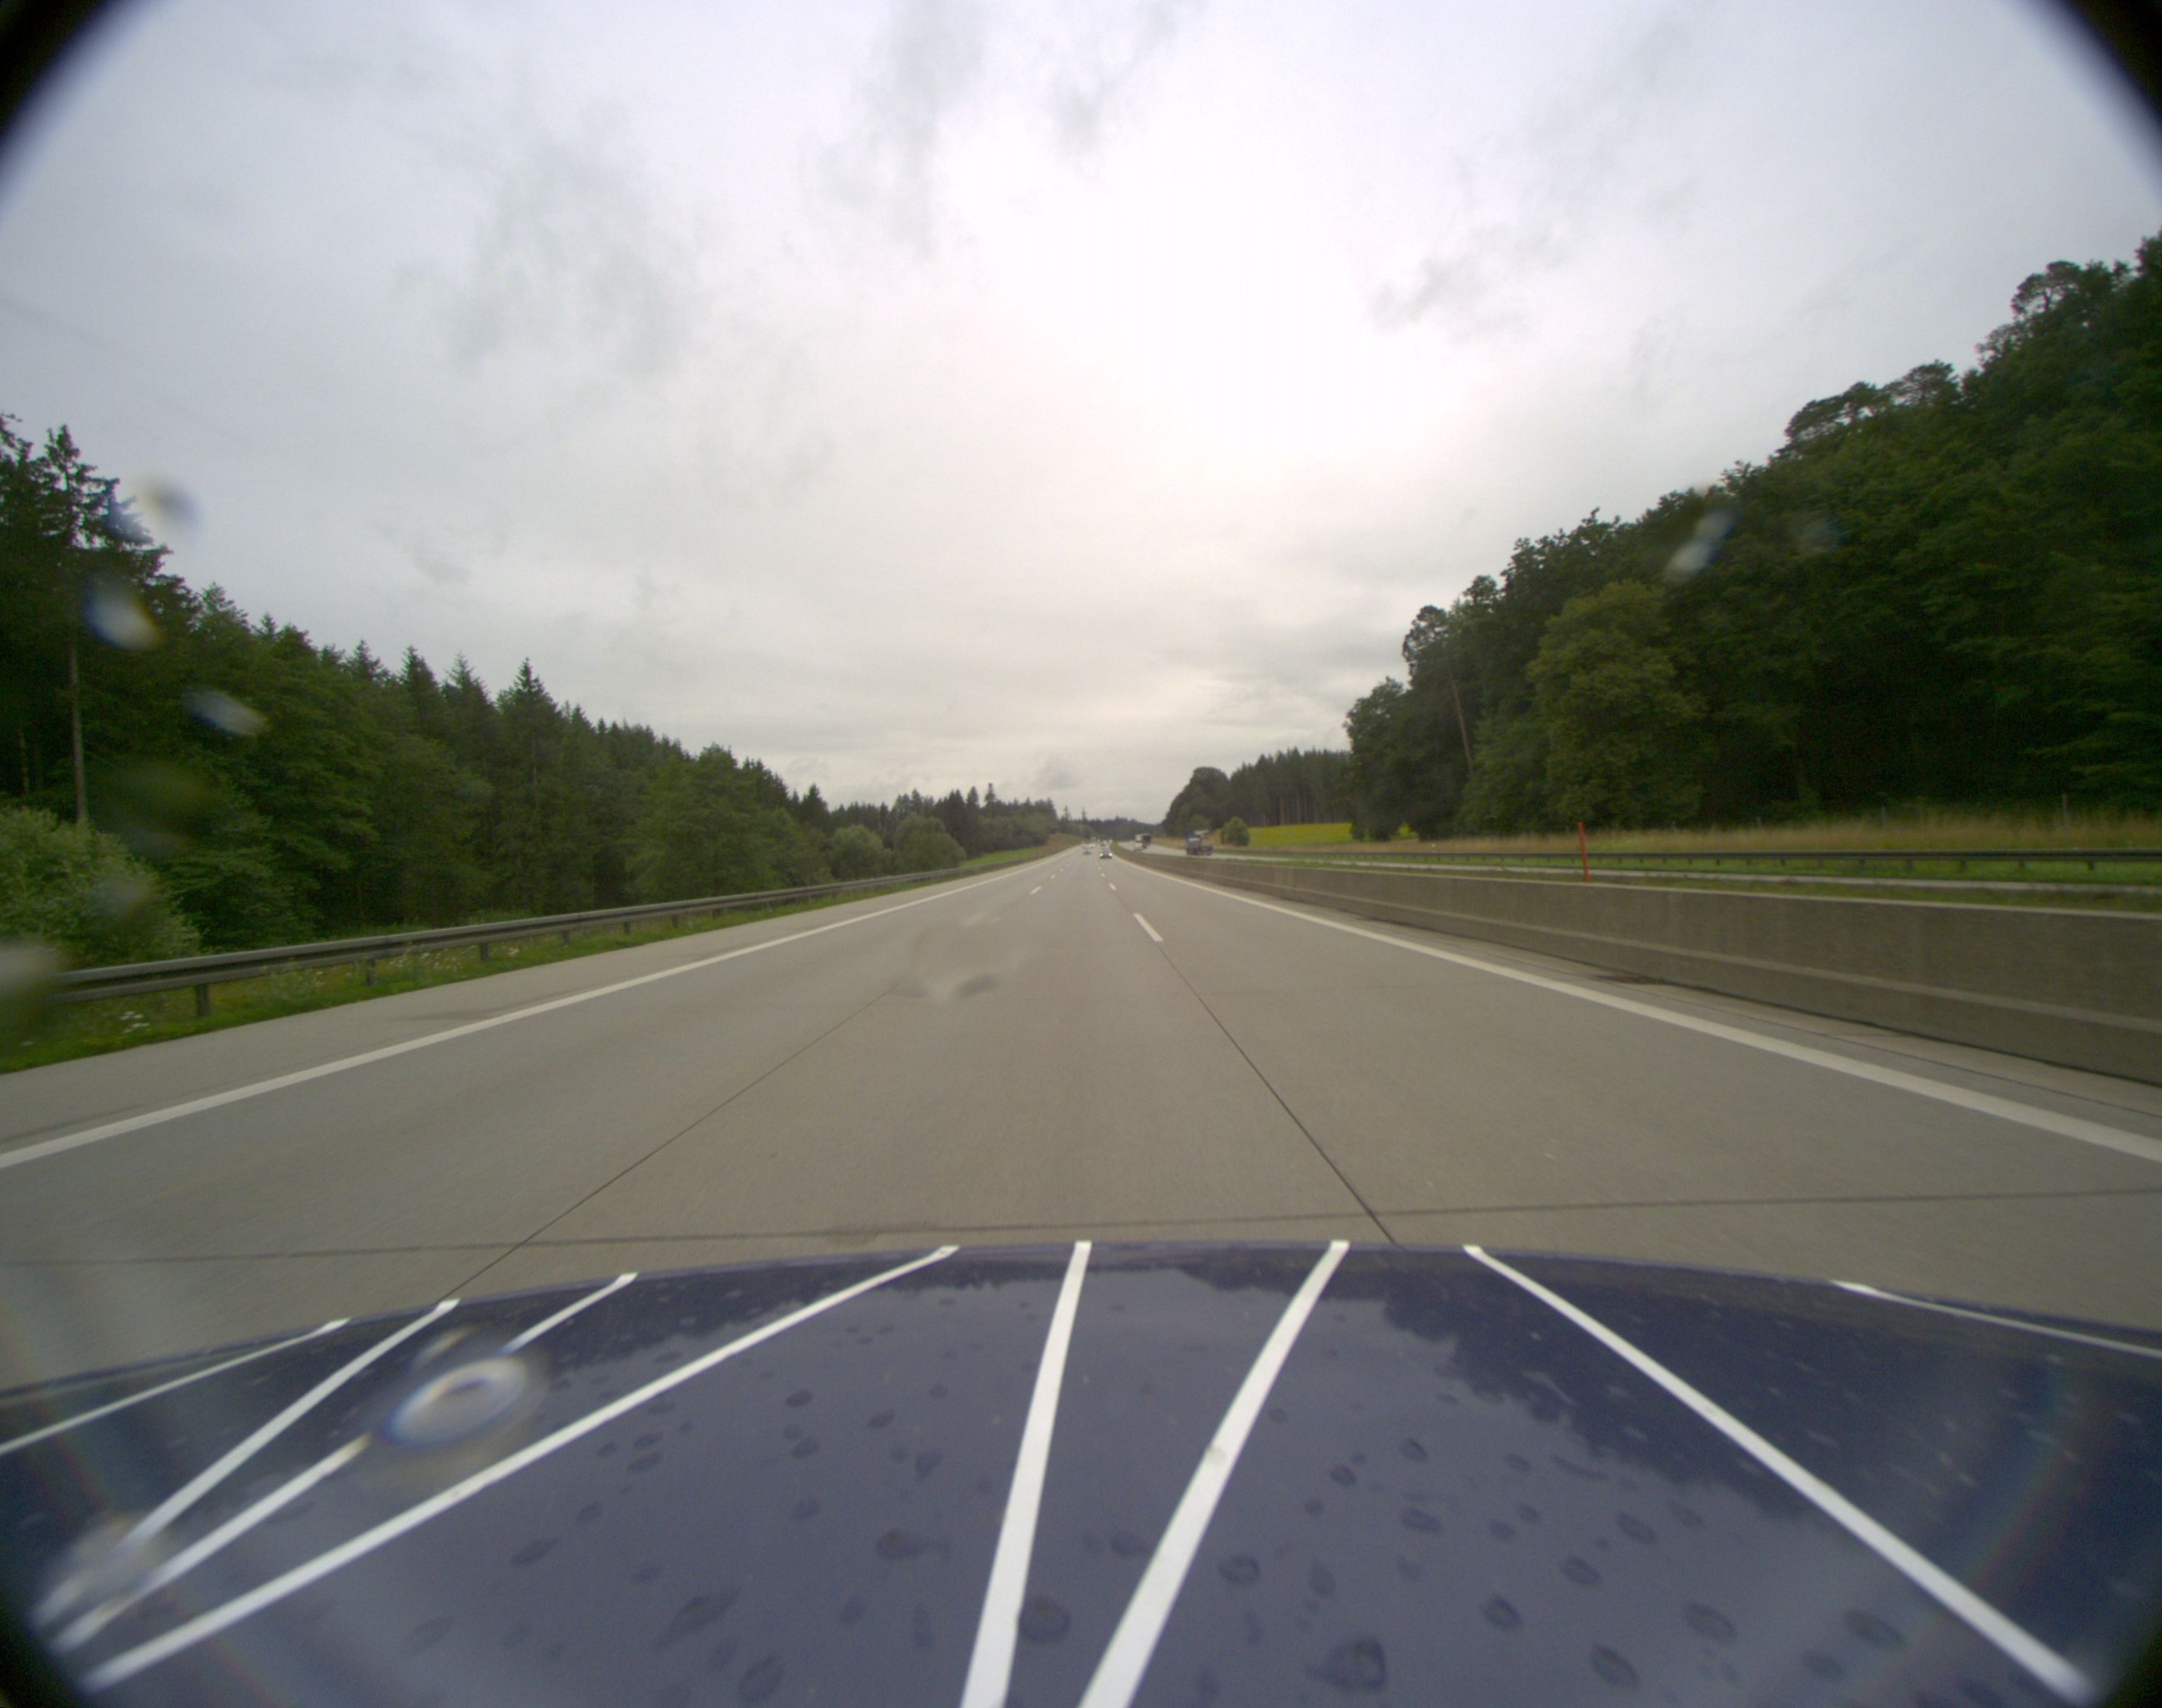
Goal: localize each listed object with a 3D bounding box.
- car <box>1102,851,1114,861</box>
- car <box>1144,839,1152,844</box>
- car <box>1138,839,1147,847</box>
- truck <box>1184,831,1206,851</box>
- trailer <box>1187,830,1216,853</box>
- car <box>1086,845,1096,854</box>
[{"bbox_3d":[4.528,0.367,127.185,1.766,1.455,4.001,-3,-1,2],"label":"car"},{"bbox_3d":[19.533,-3.578,222.850,1.852,1.369,4.435,-3,1,-1],"label":"car"},{"bbox_3d":[16.096,-2.901,199.431,2.093,1.791,5.496,-3,1,1],"label":"car"},{"bbox_3d":[20.584,-2.338,137.529,2.763,3.497,6.639,-3,1,1],"label":"truck"},{"bbox_3d":[20.528,-2.169,130.378,2.792,3.488,13.882,-3,1,1],"label":"trailer"},{"bbox_3d":[2.302,-1.000,180.344,2.213,2.002,4.833,-3,1,0],"label":"car"}]
